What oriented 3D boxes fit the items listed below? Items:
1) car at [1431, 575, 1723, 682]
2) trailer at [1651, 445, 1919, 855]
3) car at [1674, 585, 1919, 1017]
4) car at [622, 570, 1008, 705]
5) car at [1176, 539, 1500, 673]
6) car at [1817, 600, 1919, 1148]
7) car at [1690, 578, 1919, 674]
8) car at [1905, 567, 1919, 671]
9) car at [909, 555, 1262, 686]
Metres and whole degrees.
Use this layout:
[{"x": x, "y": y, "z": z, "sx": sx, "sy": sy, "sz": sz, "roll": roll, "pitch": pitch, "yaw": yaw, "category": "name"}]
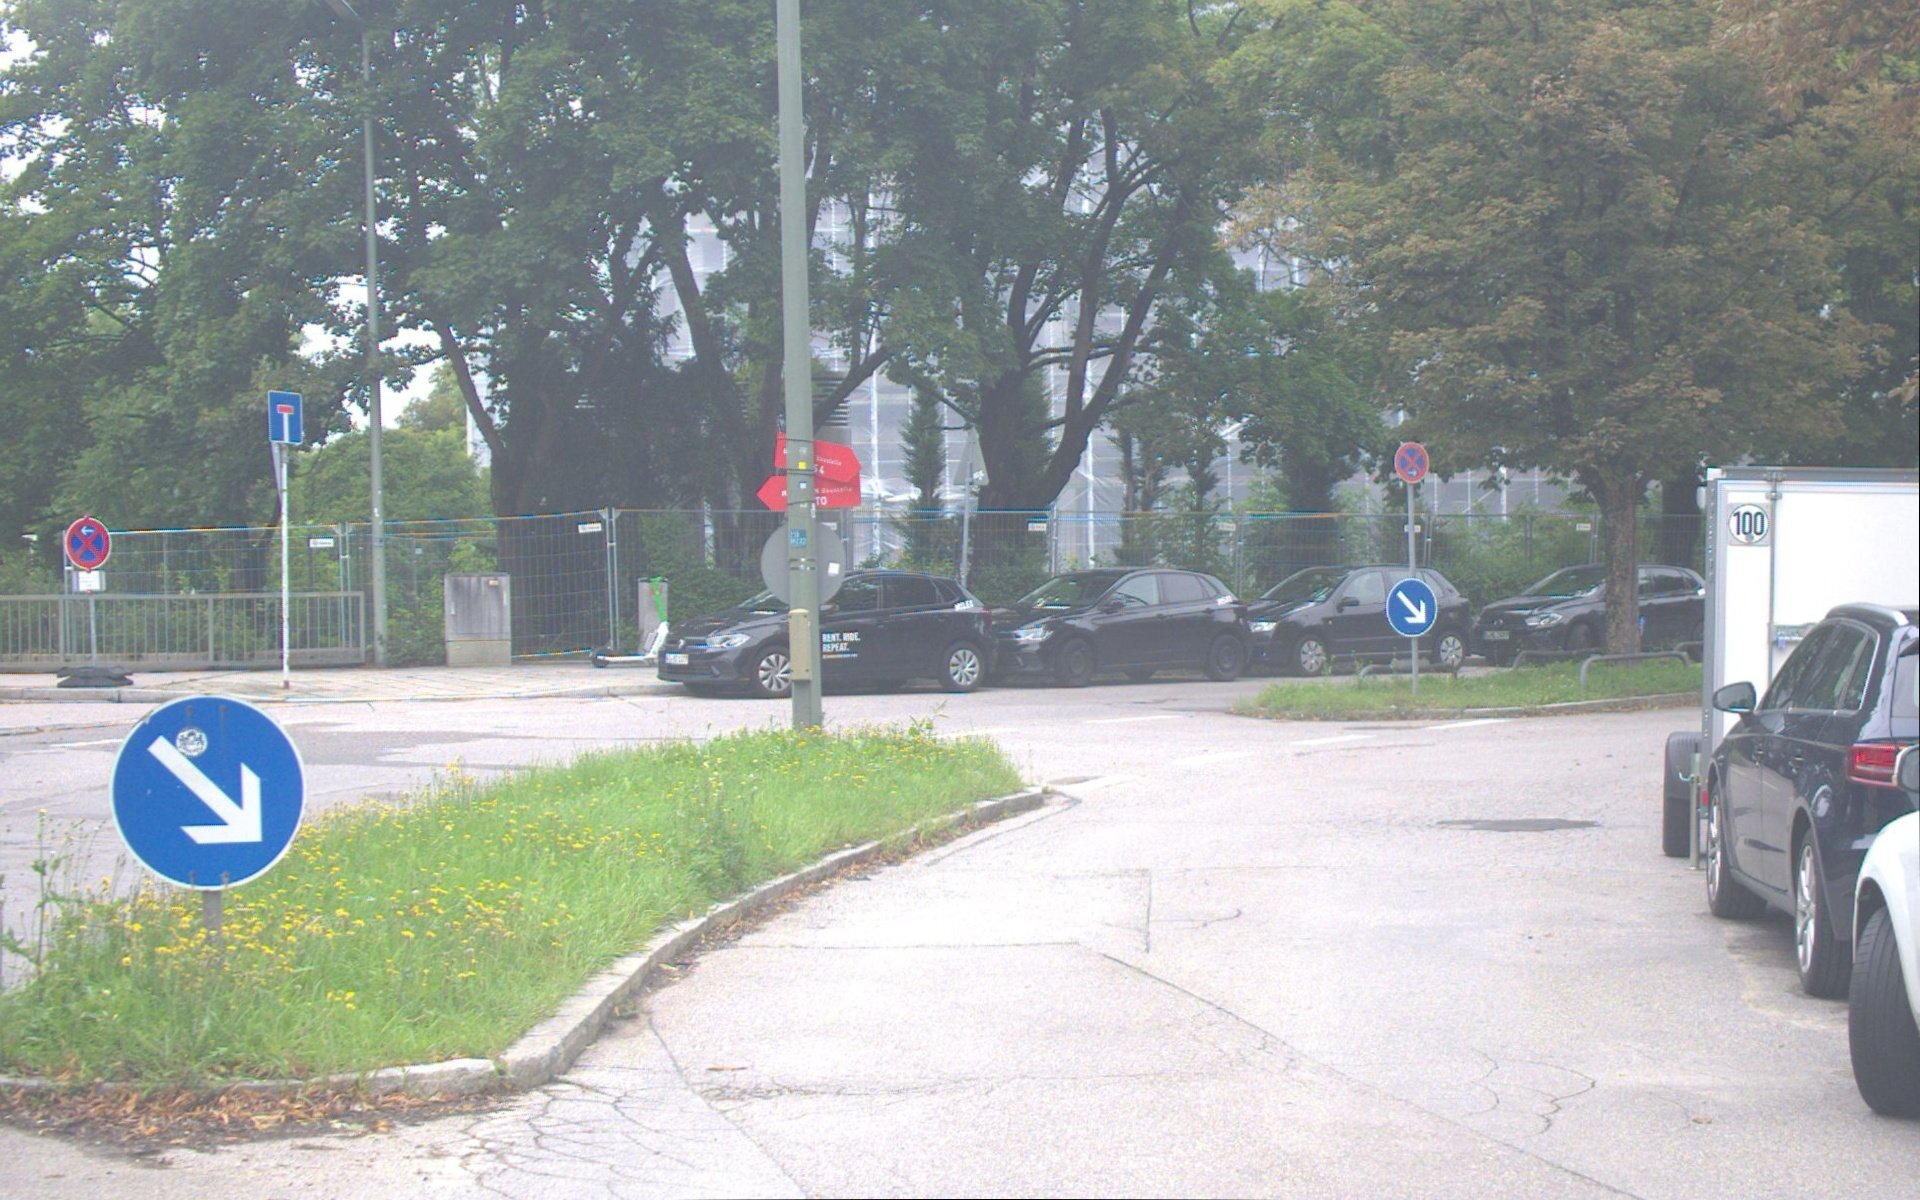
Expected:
[{"x": 8.715, "y": 0.380, "z": 48.476, "sx": 3.994, "sy": 1.456, "sz": 1.840, "roll": 0, "pitch": 0, "yaw": -38, "category": "car"}, {"x": 4.991, "y": 0.245, "z": 19.232, "sx": 1.810, "sy": 2.007, "sz": 4.830, "roll": 0, "pitch": 0, "yaw": 16, "category": "trailer"}, {"x": 4.101, "y": 0.675, "z": 13.905, "sx": 1.872, "sy": 1.432, "sz": 4.327, "roll": -1, "pitch": 0, "yaw": 5, "category": "car"}, {"x": -1.656, "y": 0.396, "z": 39.819, "sx": 4.030, "sy": 1.428, "sz": 2.000, "roll": -1, "pitch": 2, "yaw": -37, "category": "car"}, {"x": 5.028, "y": 0.069, "z": 45.542, "sx": 3.988, "sy": 1.700, "sz": 1.999, "roll": 0, "pitch": 0, "yaw": -38, "category": "car"}, {"x": 3.471, "y": 0.749, "z": 8.411, "sx": 1.766, "sy": 1.481, "sz": 4.221, "roll": 0, "pitch": 0, "yaw": 1, "category": "car"}, {"x": 13.060, "y": 0.365, "z": 51.398, "sx": 4.205, "sy": 1.379, "sz": 1.802, "roll": 0, "pitch": 0, "yaw": -35, "category": "car"}, {"x": 17.065, "y": 0.334, "z": 53.513, "sx": 4.381, "sy": 1.601, "sz": 1.892, "roll": 1, "pitch": -1, "yaw": -27, "category": "car"}, {"x": 1.567, "y": 0.219, "z": 42.345, "sx": 3.988, "sy": 1.536, "sz": 1.999, "roll": -1, "pitch": 0, "yaw": -38, "category": "car"}]
